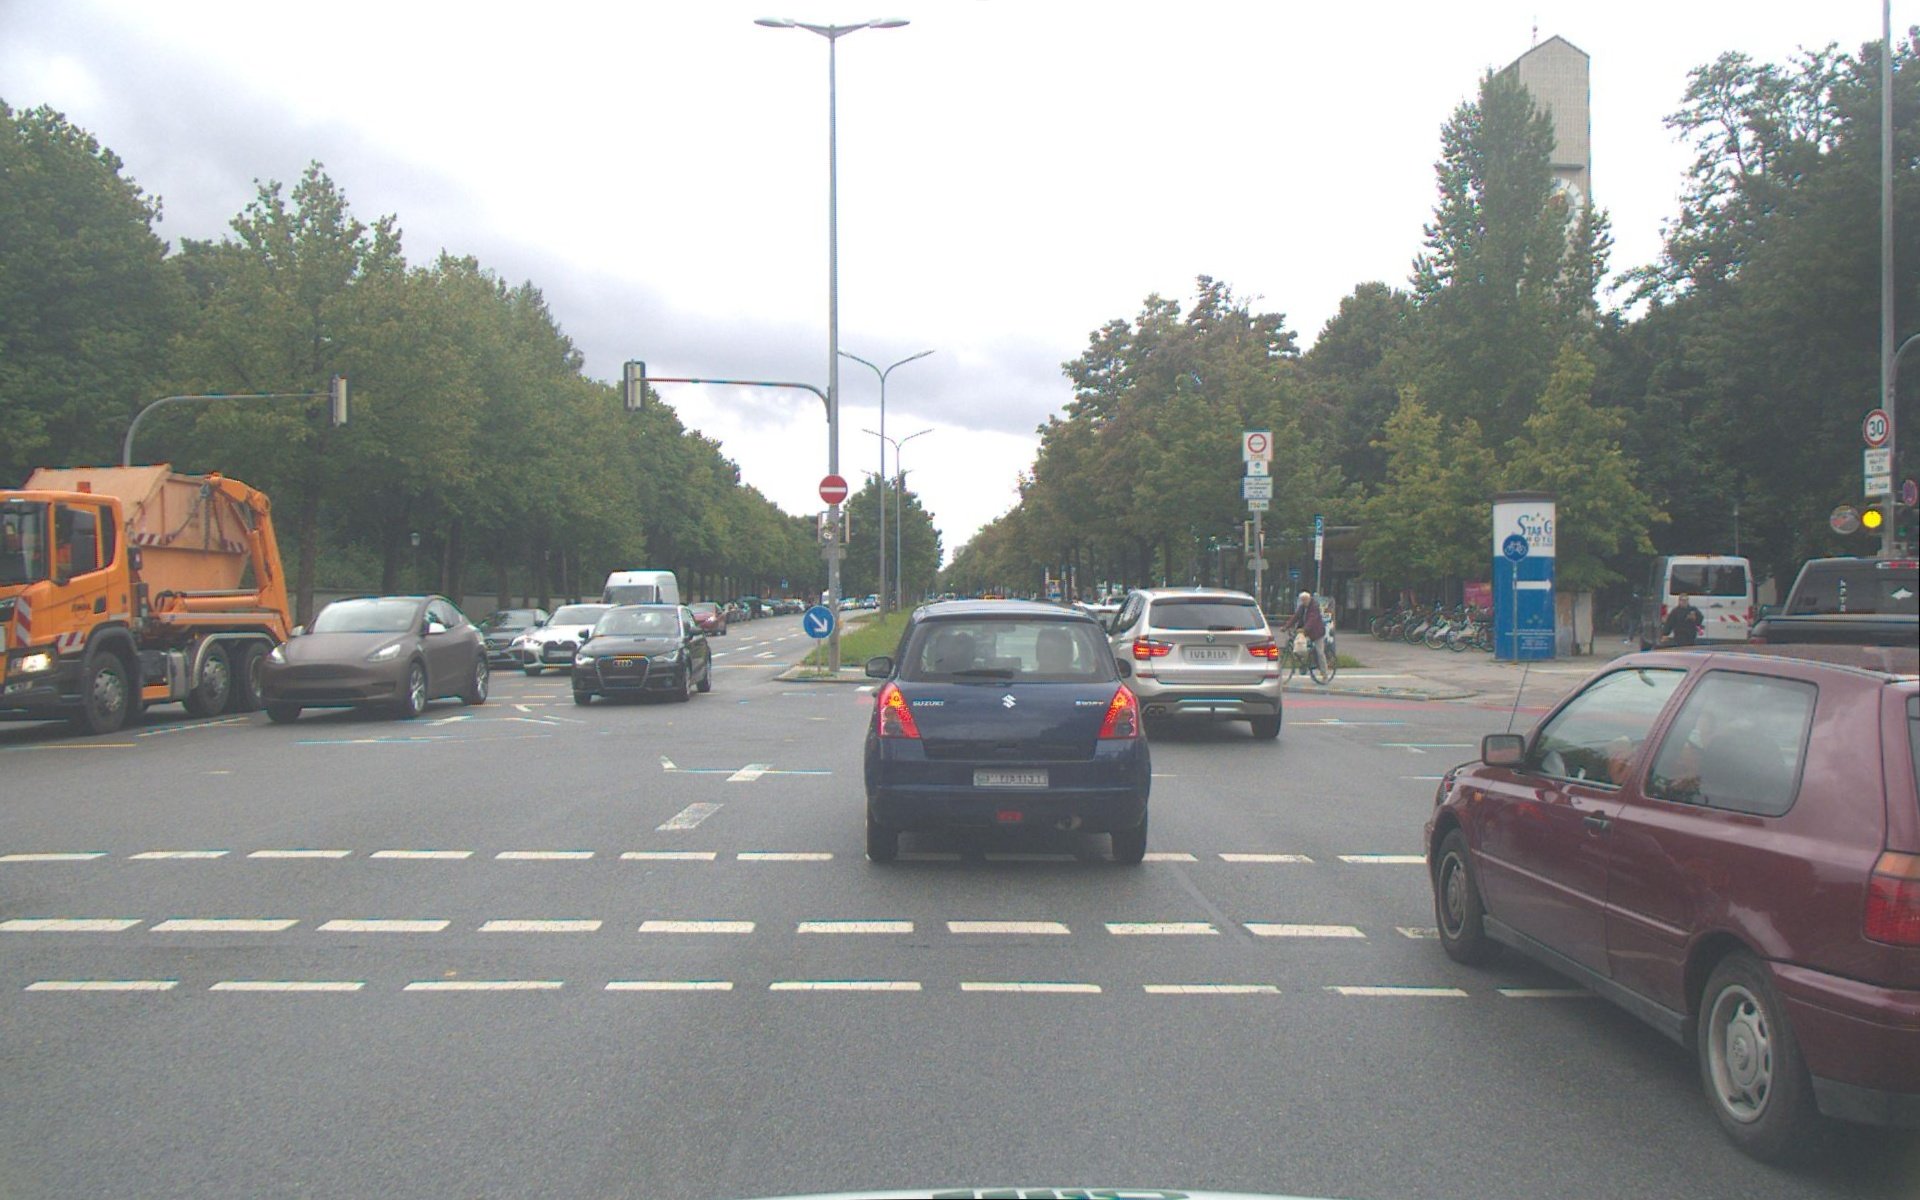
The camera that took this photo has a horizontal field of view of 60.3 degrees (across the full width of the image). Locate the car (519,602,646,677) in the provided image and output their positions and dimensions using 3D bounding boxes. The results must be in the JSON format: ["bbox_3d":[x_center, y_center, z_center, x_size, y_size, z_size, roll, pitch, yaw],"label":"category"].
[{"bbox_3d":[-8.203,0.820,36.332,1.692,1.513,4.742,0,0,0],"label":"car"}]

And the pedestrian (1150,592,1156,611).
[{"bbox_3d":[18.143,0.126,155.350,0.563,1.782,0.732,0,0,4],"label":"pedestrian"}]

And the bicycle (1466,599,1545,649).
[{"bbox_3d":[14.320,0.614,43.432,1.905,1.233,0.565,-2,0,-13],"label":"bicycle"}]

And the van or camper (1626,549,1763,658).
[{"bbox_3d":[17.003,0.065,38.582,2.096,2.336,6.203,0,0,16],"label":"van or camper"}]

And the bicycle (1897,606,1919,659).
[{"bbox_3d":[22.025,0.740,37.240,0.682,1.173,2.129,0,0,2],"label":"bicycle"}]

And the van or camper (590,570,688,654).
[{"bbox_3d":[-11.214,0.381,58.375,2.134,2.693,6.949,-2,0,-1],"label":"van or camper"}]

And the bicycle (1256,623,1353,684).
[{"bbox_3d":[6.593,1.008,31.605,1.926,1.100,0.738,0,0,-37],"label":"bicycle"}]

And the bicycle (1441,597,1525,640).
[{"bbox_3d":[15.754,0.555,49.825,2.291,1.177,0.585,-3,0,-1],"label":"bicycle"}]

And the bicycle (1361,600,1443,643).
[{"bbox_3d":[13.395,0.636,50.162,2.291,1.177,0.585,-3,0,-1],"label":"bicycle"}]

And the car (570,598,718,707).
[{"bbox_3d":[-4.725,0.734,25.152,1.606,1.513,3.780,0,0,-2],"label":"car"}]

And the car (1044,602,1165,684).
[{"bbox_3d":[2.714,0.779,31.943,1.813,1.472,4.096,0,0,-2],"label":"car"}]

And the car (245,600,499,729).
[{"bbox_3d":[-7.882,0.795,22.699,1.824,1.569,4.749,0,0,-1],"label":"car"}]

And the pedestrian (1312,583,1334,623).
[{"bbox_3d":[14.150,0.123,64.540,0.569,1.539,0.690,0,0,-19],"label":"pedestrian"}]

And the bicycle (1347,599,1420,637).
[{"bbox_3d":[14.482,0.607,56.571,2.291,1.177,0.529,-3,0,-1],"label":"bicycle"}]

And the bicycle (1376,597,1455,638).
[{"bbox_3d":[14.324,0.560,52.058,2.291,1.177,0.529,-3,0,-1],"label":"bicycle"}]

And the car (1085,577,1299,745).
[{"bbox_3d":[2.627,0.644,19.668,1.813,1.773,4.096,0,0,-2],"label":"car"}]

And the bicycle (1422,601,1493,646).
[{"bbox_3d":[13.645,0.648,45.430,1.767,1.162,0.568,-2,0,8],"label":"bicycle"}]

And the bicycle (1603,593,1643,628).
[{"bbox_3d":[23.418,0.375,58.458,0.516,1.177,2.347,-3,0,2],"label":"bicycle"}]

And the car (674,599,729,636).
[{"bbox_3d":[-11.364,0.737,73.049,1.708,1.477,4.656,-3,0,-1],"label":"car"}]

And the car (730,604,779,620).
[{"bbox_3d":[-18.305,1.042,147.188,3.955,1.378,1.828,-1,0,-36],"label":"car"}]

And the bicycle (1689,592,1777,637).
[{"bbox_3d":[22.374,0.408,47.896,2.291,1.177,0.529,-3,0,-1],"label":"bicycle"}]

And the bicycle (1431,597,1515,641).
[{"bbox_3d":[15.236,0.566,49.164,2.291,1.177,0.585,-3,0,-1],"label":"bicycle"}]

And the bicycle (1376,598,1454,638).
[{"bbox_3d":[14.456,0.570,52.611,2.291,1.177,0.529,-3,0,-1],"label":"bicycle"}]

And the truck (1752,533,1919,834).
[{"bbox_3d":[8.038,0.558,13.758,2.060,2.049,5.799,-1,0,31],"label":"truck"}]

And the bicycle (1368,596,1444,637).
[{"bbox_3d":[14.330,0.527,53.159,2.291,1.177,0.529,-3,0,-1],"label":"bicycle"}]

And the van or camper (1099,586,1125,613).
[{"bbox_3d":[14.857,-0.026,162.172,1.983,2.602,5.956,-1,0,0],"label":"van or camper"}]

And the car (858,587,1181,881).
[{"bbox_3d":[0.246,0.723,10.986,1.753,1.583,3.998,0,0,-2],"label":"car"}]

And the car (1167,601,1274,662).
[{"bbox_3d":[6.256,0.715,40.135,1.676,1.384,4.619,0,0,-3],"label":"car"}]

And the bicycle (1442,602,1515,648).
[{"bbox_3d":[13.797,0.653,44.000,1.775,1.162,0.565,-2,0,-13],"label":"bicycle"}]

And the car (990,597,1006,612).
[{"bbox_3d":[4.097,0.501,178.122,1.650,1.552,4.455,1,0,0],"label":"car"}]

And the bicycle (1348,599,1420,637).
[{"bbox_3d":[14.261,0.606,55.653,2.296,1.177,0.528,-3,0,-10],"label":"bicycle"}]

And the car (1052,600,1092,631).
[{"bbox_3d":[5.647,0.766,83.782,1.683,1.535,4.223,0,0,-1],"label":"car"}]

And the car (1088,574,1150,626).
[{"bbox_3d":[5.681,-0.015,59.555,1.712,1.754,4.905,1,0,-1],"label":"car"}]

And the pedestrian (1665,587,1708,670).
[{"bbox_3d":[13.955,0.546,31.788,0.676,1.565,0.738,0,0,18],"label":"pedestrian"}]

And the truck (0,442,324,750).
[{"bbox_3d":[-11.284,-0.036,21.974,2.723,3.415,7.267,0,0,1],"label":"truck"}]

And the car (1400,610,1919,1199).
[{"bbox_3d":[2.912,0.792,5.841,1.589,1.479,3.948,0,0,-1],"label":"car"}]

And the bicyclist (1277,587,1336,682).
[{"bbox_3d":[6.629,0.647,31.638,0.819,1.795,0.737,0,0,-36],"label":"bicyclist"}]

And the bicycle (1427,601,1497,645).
[{"bbox_3d":[14.105,0.645,46.494,1.768,1.162,0.567,-2,0,4],"label":"bicycle"}]

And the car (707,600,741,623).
[{"bbox_3d":[-16.895,0.816,118.620,1.538,1.529,4.305,1,0,3],"label":"car"}]

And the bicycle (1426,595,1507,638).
[{"bbox_3d":[15.581,0.503,50.897,2.291,1.177,0.585,-3,0,-1],"label":"bicycle"}]

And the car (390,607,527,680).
[{"bbox_3d":[-11.029,0.914,36.656,1.688,1.441,4.215,-2,0,0],"label":"car"}]
